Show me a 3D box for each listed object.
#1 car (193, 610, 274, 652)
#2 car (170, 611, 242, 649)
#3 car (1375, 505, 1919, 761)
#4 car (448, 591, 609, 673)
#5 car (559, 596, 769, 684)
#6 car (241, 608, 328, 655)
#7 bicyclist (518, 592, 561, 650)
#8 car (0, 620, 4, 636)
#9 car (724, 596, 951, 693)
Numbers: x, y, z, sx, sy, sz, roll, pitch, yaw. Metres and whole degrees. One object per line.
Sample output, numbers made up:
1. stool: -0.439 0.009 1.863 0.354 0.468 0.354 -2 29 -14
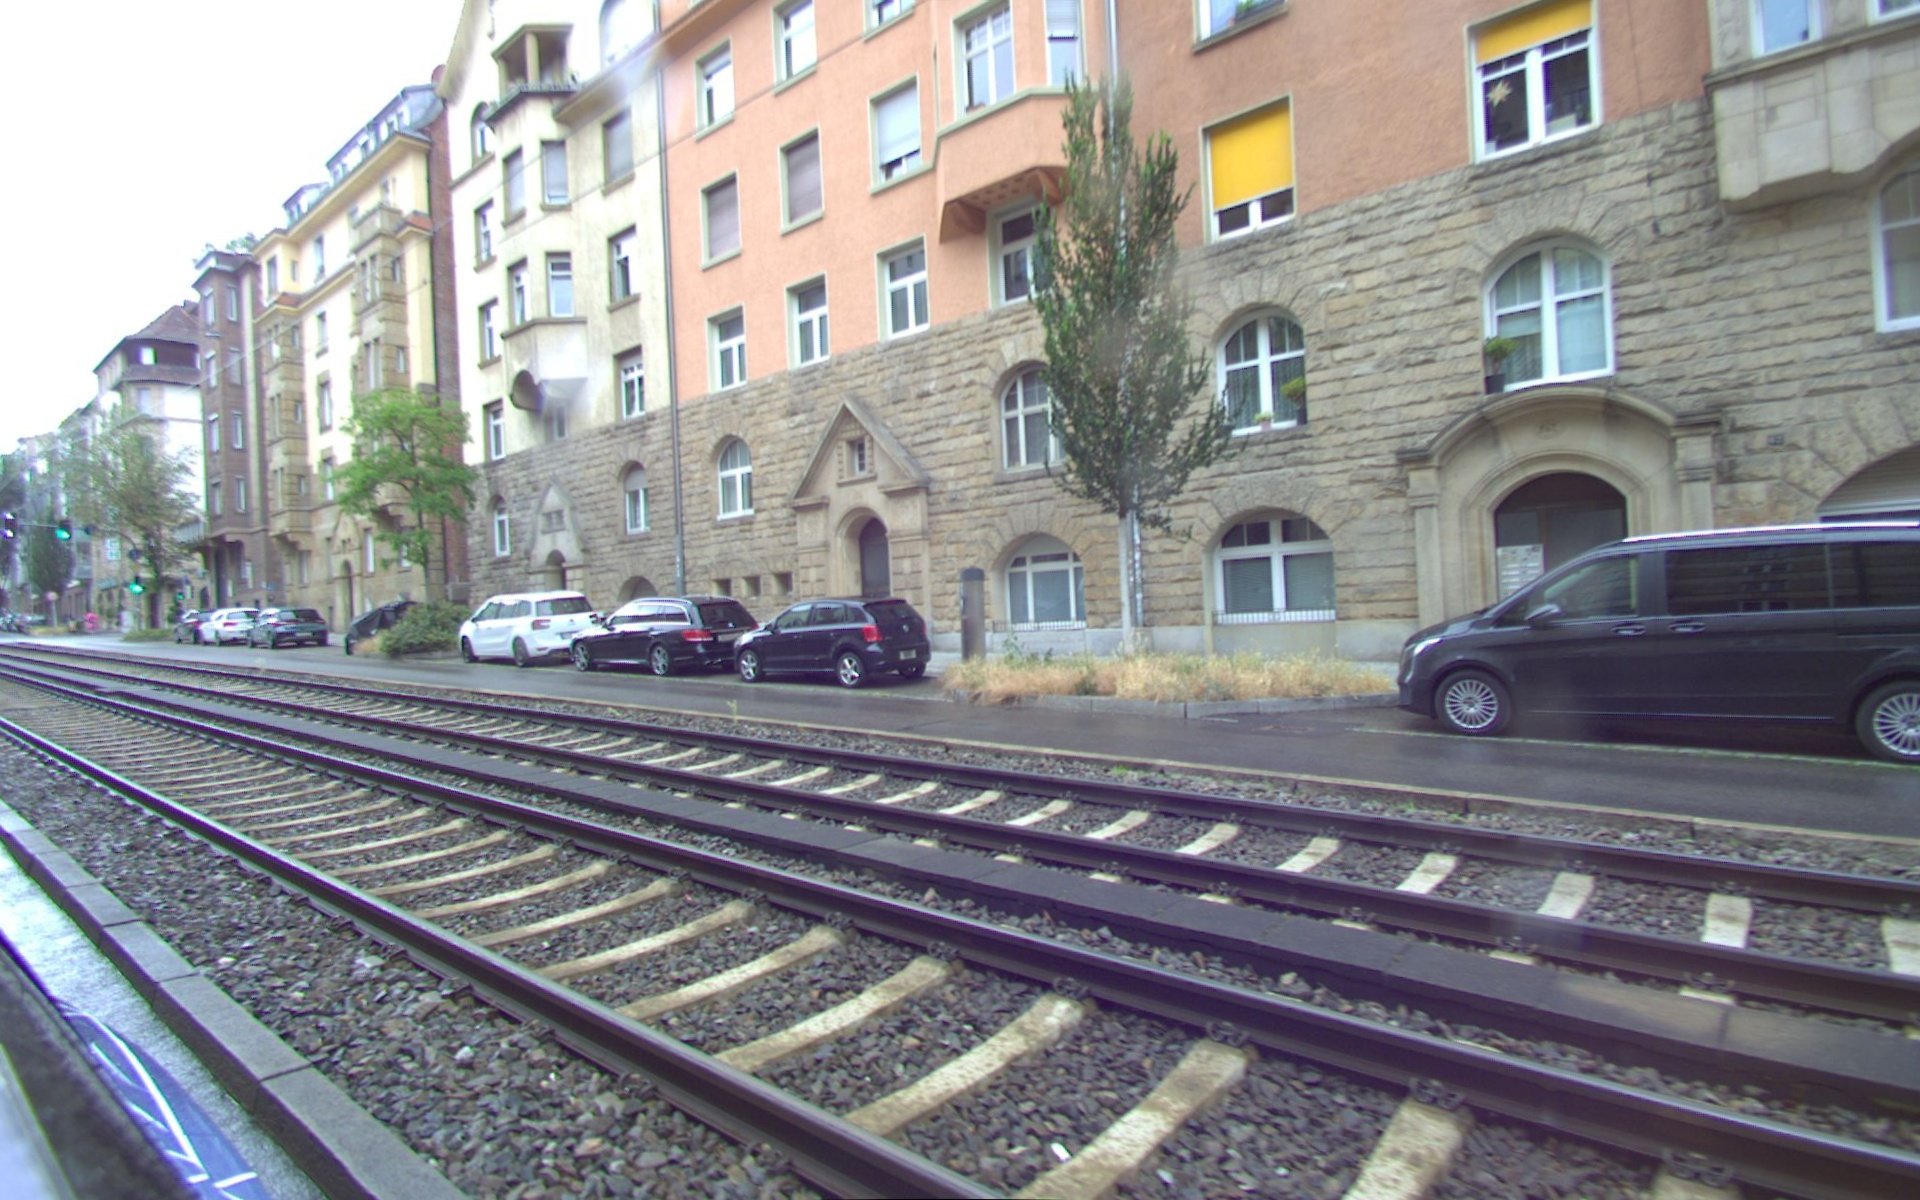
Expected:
1. car: -28.935 1.207 40.276 4.043 1.462 1.737 -1 3 42
2. car: -32.299 1.241 43.318 3.712 1.438 1.737 -1 3 42
3. car: 6.663 0.259 9.431 4.829 1.945 1.886 -1 0 40
4. car: -10.311 0.717 24.048 4.257 1.684 1.738 -1 3 40
5. car: -6.028 0.738 20.342 4.593 1.502 1.738 -1 2 39
6. car: -24.299 1.083 36.379 3.712 1.493 1.695 -1 3 42
7. bicyclist: -12.132 0.595 29.205 0.774 1.613 0.883 -1 0 41
8. car: -82.225 2.371 85.405 4.255 1.356 1.771 -1 0 41
9. car: -2.152 0.693 17.333 3.690 1.414 1.739 -1 2 38
